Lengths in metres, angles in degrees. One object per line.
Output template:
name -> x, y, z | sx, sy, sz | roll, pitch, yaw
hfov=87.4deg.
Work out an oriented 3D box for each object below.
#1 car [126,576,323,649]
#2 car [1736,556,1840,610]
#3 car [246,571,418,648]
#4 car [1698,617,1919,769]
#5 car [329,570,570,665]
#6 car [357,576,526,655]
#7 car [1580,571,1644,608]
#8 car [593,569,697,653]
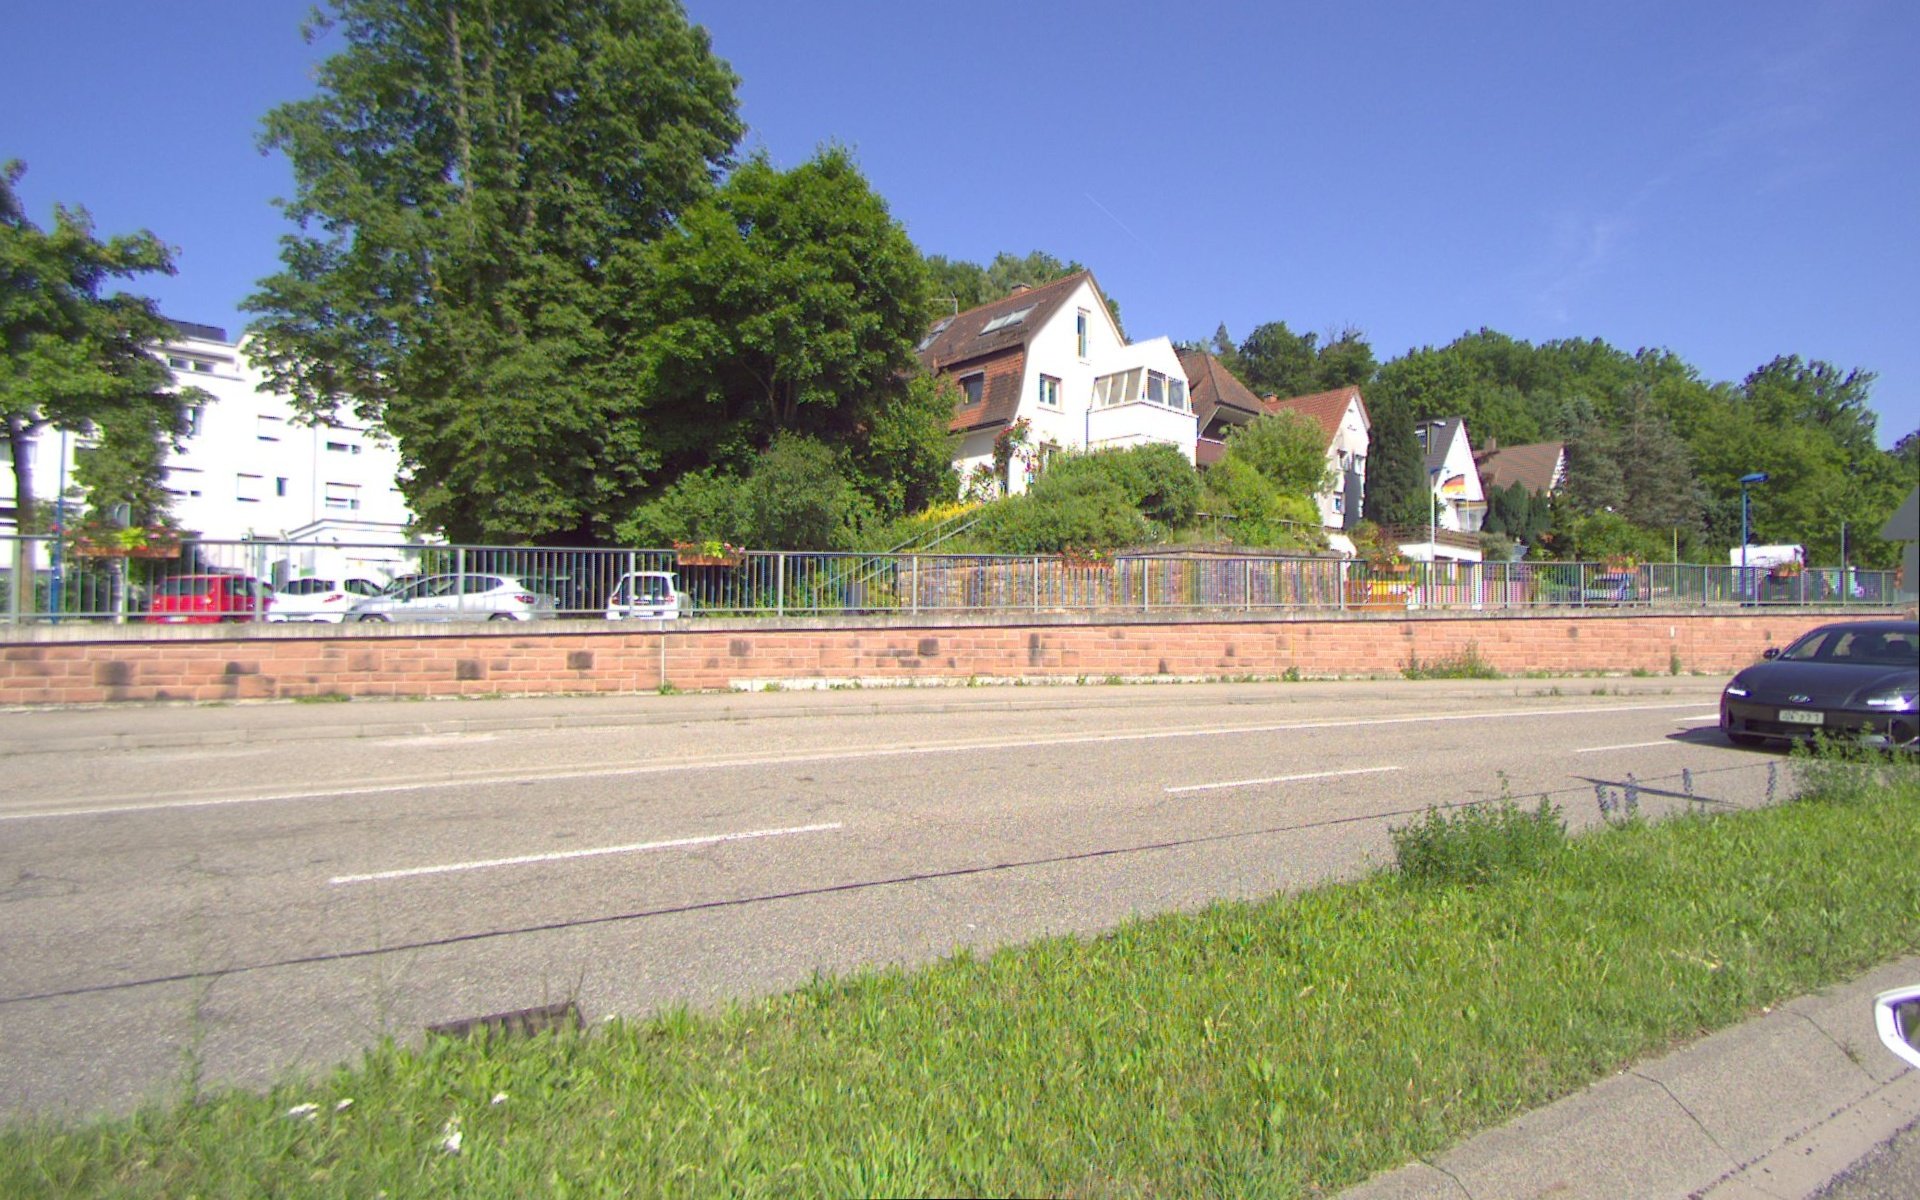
car -> -17.435, 0.228, 24.091 | 1.877, 1.581, 3.998 | 1, 1, -2
car -> 31.773, -0.657, 38.512 | 4.687, 1.946, 2.006 | 0, 2, -37
car -> -15.040, 0.157, 24.347 | 1.877, 1.724, 3.996 | 0, 2, -5
car -> 11.007, 0.975, 11.909 | 4.656, 1.490, 1.785 | 1, 0, -28
car -> -10.353, 0.363, 20.605 | 3.922, 1.813, 1.921 | 1, -1, -2
car -> -12.182, 0.299, 23.924 | 1.961, 1.694, 3.999 | 1, 1, 0
car -> 31.218, -0.458, 48.048 | 1.875, 1.651, 3.976 | 0, -1, 44
car -> -7.623, 0.209, 24.678 | 1.879, 1.901, 3.993 | 0, 1, -9
